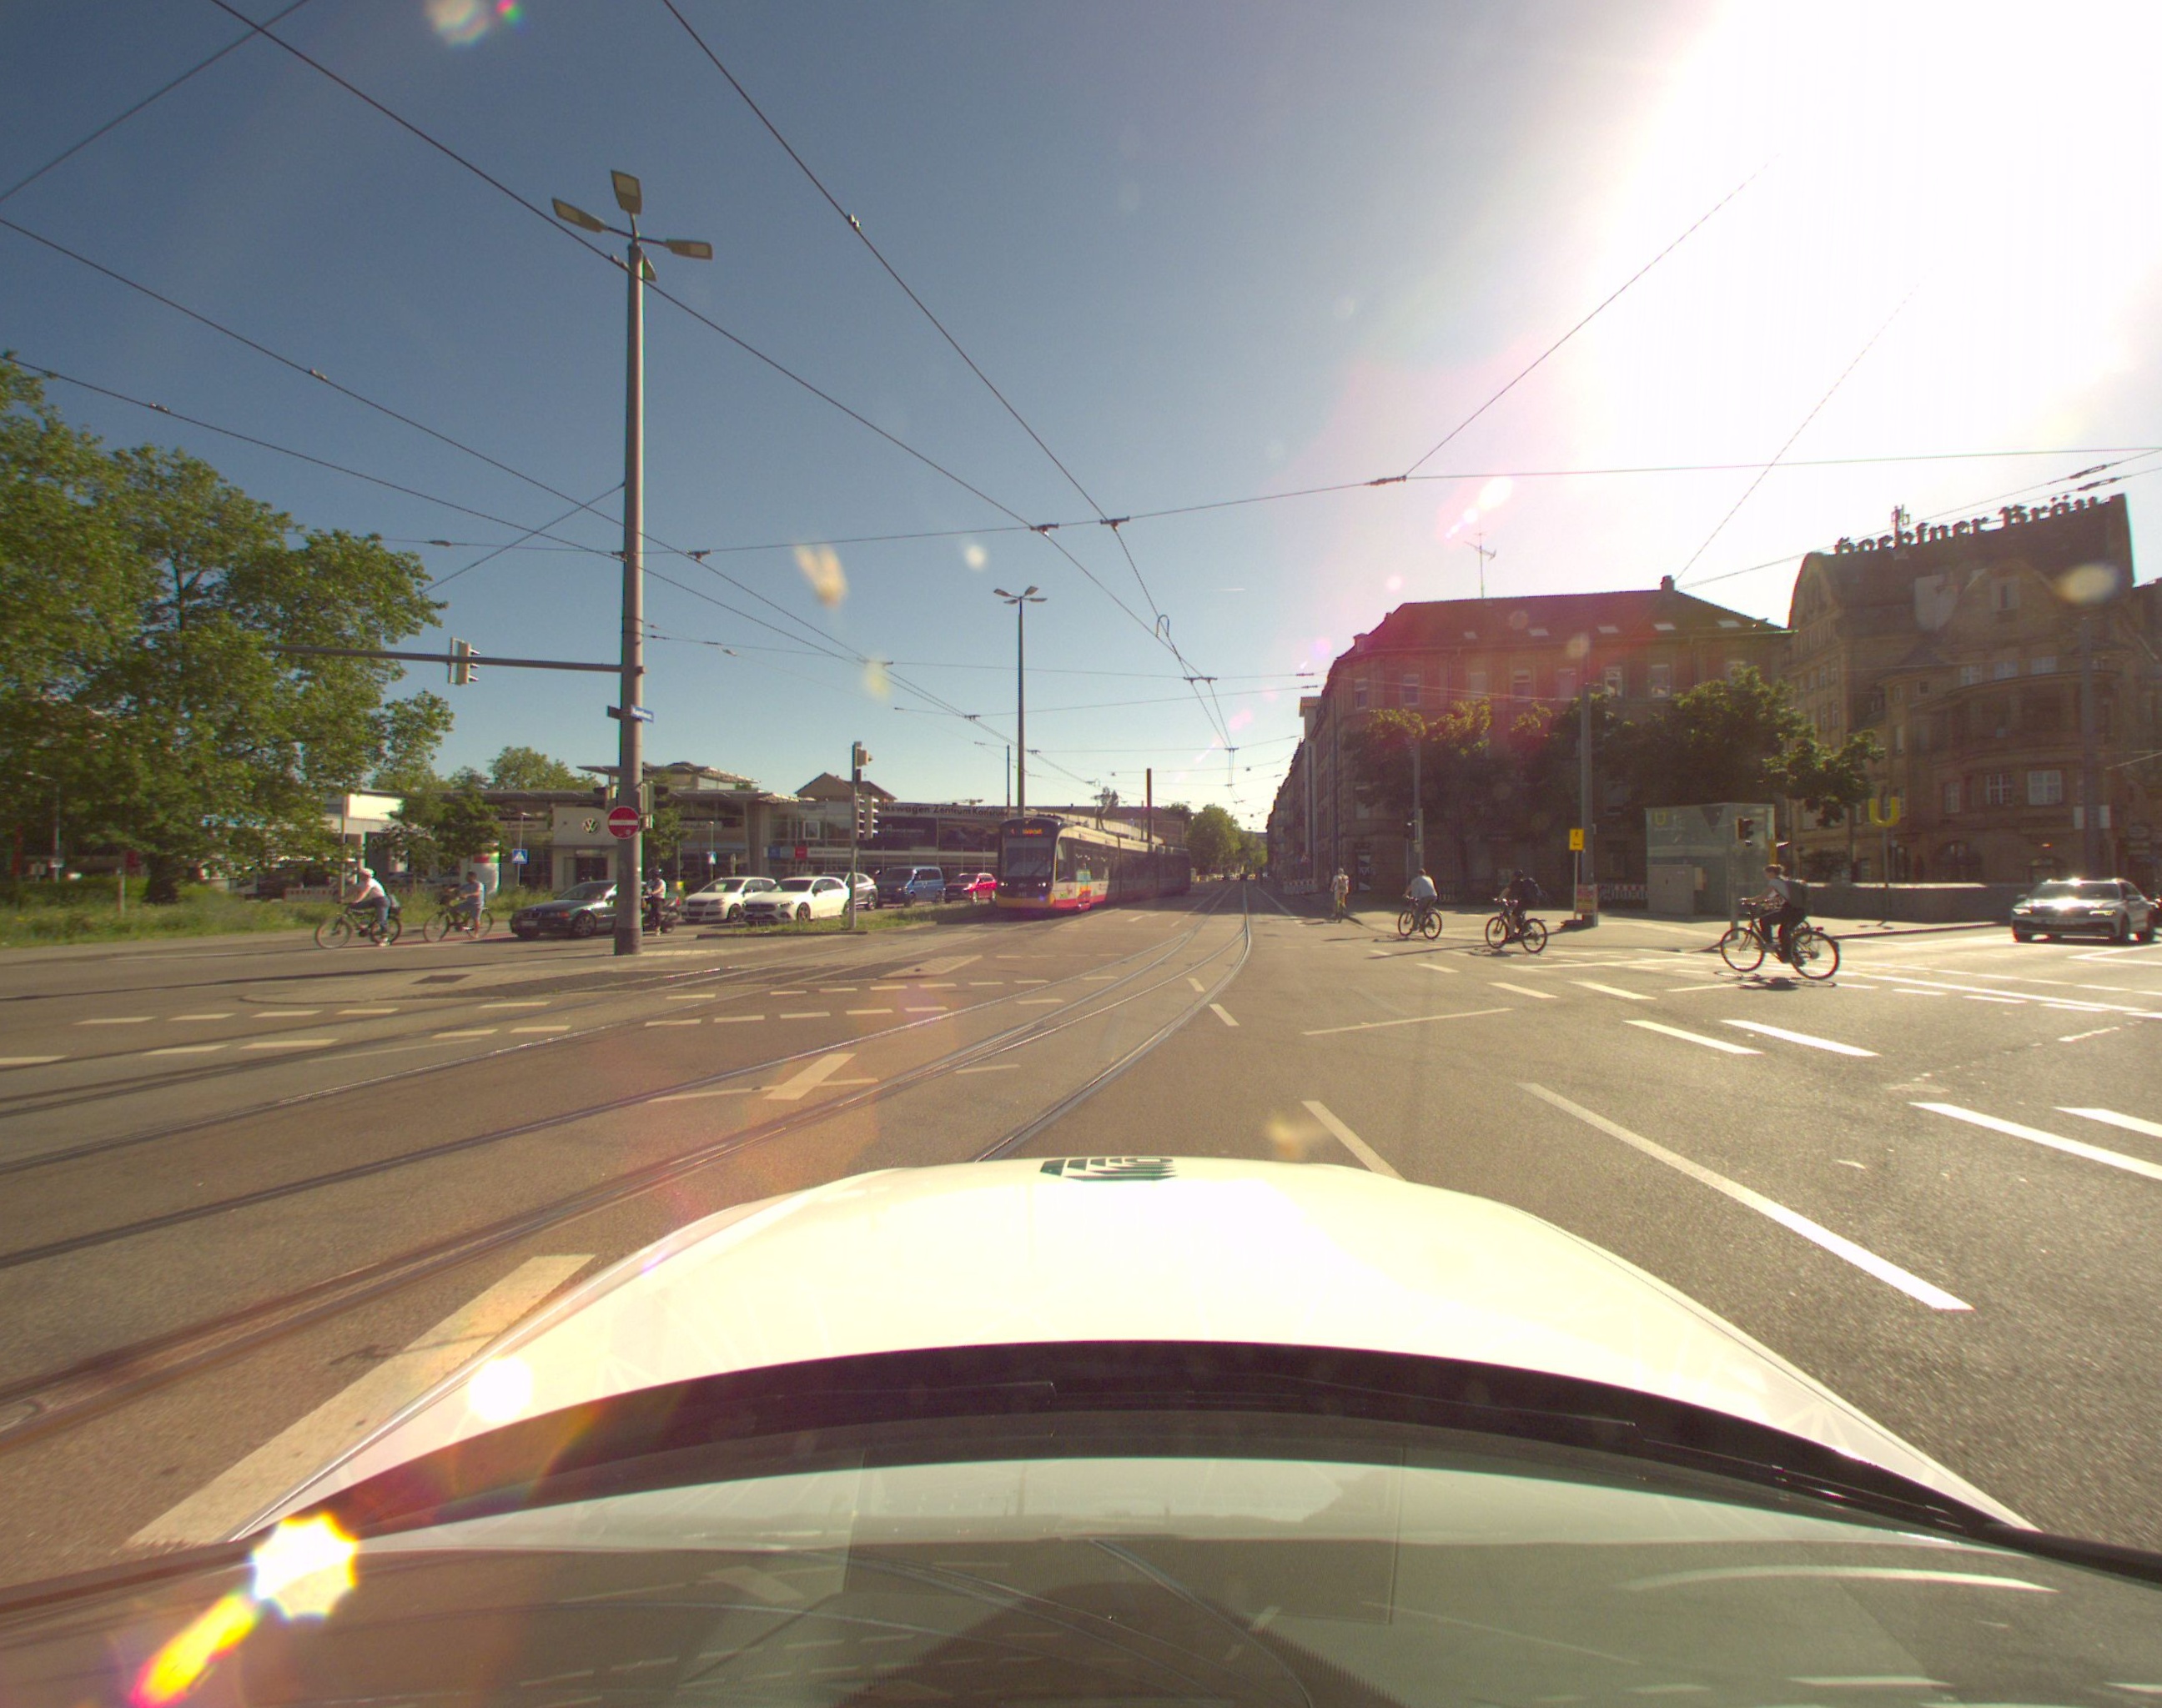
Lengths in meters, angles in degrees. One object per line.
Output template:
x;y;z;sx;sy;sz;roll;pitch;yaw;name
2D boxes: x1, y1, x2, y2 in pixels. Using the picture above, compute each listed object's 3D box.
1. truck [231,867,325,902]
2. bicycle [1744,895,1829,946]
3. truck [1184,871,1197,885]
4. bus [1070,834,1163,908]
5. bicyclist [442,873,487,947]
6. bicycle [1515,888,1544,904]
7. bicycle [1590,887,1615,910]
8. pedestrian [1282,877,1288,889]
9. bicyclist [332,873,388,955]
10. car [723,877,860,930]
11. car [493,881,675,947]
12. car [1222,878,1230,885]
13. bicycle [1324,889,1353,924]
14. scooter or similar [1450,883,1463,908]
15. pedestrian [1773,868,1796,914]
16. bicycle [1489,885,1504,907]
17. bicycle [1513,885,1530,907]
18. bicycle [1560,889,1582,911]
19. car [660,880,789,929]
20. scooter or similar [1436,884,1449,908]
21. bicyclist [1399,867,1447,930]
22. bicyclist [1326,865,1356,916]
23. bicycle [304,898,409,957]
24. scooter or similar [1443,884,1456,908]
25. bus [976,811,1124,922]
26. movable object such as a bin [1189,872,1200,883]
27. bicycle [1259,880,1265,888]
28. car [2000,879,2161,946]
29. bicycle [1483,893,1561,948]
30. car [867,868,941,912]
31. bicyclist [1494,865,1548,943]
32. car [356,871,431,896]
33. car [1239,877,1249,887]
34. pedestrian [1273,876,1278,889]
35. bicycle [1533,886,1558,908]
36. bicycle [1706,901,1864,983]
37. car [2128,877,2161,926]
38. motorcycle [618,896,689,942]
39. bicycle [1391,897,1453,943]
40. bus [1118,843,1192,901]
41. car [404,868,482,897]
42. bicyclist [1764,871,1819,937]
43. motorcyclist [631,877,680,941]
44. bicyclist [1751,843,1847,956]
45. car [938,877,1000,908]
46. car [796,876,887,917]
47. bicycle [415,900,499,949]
-54.661;2.067;55.494;4.192;2.221;1.998;2;-2;-3;truck
18.018;1.678;20.853;0.529;1.117;1.934;2;0;1;bicycle
22.547;4.938;168.270;2.524;2.830;6.389;1;-2;8;truck
2.228;0.991;45.228;2.820;3.590;10.767;0;-2;15;bus
-14.934;1.337;19.723;0.570;1.742;0.603;1;0;12;bicyclist
25.528;2.375;46.365;1.406;0.856;0.406;1;-2;18;bicycle
25.558;2.168;39.921;0.401;1.061;1.464;1;-2;5;bicycle
27.398;3.872;109.196;0.792;1.605;0.654;0;-3;13;pedestrian
-16.043;1.317;18.136;0.570;1.742;0.680;1;-1;12;bicyclist
-8.746;1.479;25.133;1.791;1.432;4.555;1;-2;12;car
-12.443;1.453;20.729;1.638;1.479;3.983;-2;-2;12;car
35.772;6.727;200.951;1.747;1.697;4.157;1;-2;12;car
8.919;1.796;28.264;0.529;1.117;1.936;2;-2;5;bicycle
18.862;2.080;40.951;0.268;1.196;1.570;1;-2;12;scooter or similar
28.411;1.492;32.890;0.652;1.849;0.541;3;-3;-31;pedestrian
20.784;2.085;40.758;0.400;1.061;1.489;1;-2;17;bicycle
21.960;2.105;40.608;0.400;1.061;1.356;1;-2;12;bicycle
24.433;2.265;40.616;0.401;1.061;1.465;1;-2;8;bicycle
-11.488;1.599;26.564;1.791;1.432;4.012;1;-2;12;car
18.230;2.090;41.071;0.268;1.185;1.570;1;-2;12;scooter or similar
8.959;1.152;21.360;0.784;1.593;0.881;1;-2;-16;bicyclist
8.992;1.257;28.235;0.678;1.684;1.120;2;-2;1;bicyclist
-16.056;1.597;18.113;0.534;1.184;1.759;-1;-1;12;bicycle
18.540;2.097;41.021;0.268;1.185;1.570;1;-2;12;scooter or similar
-0.676;0.600;33.226;2.822;3.590;13.537;0;-2;12;bus
27.821;5.734;199.034;2.481;2.645;6.003;1;-2;9;movable object such as a bin
24.650;4.075;111.123;0.676;1.114;2.715;1;-2;11;bicycle
26.534;1.498;21.542;4.260;1.621;1.902;2;-3;-27;car
9.400;1.395;17.455;0.530;1.118;1.931;0;-3;-3;bicycle
-8.365;1.715;38.930;1.790;1.934;4.179;-1;-3;14;car
9.400;1.052;17.430;0.621;1.614;0.980;2;-2;-1;bicyclist
-53.005;2.288;62.821;3.973;1.757;2.000;2;-2;0;car
37.415;6.438;186.925;1.980;2.014;4.012;1;-2;12;car
25.663;3.781;107.391;0.548;1.701;0.476;-3;-3;17;pedestrian
23.029;2.110;40.357;0.402;1.061;1.350;2;-2;-4;bicycle
10.651;1.296;12.426;0.531;1.118;1.928;0;-3;-8;bicycle
39.606;1.683;29.074;4.260;1.687;1.902;2;-3;-27;car
-10.598;1.588;20.256;0.515;1.047;1.753;-1;-2;13;motorcycle
8.919;1.701;21.392;0.387;1.069;1.923;0;-1;-16;bicycle
5.311;1.248;55.827;2.819;3.590;11.318;0;-2;17;bus
-47.314;2.141;60.475;3.985;2.014;1.994;2;-2;-9;car
17.945;1.259;20.588;0.596;1.614;0.953;2;-2;2;bicyclist
-10.645;1.365;20.379;0.581;1.580;0.946;-1;-3;13;motorcyclist
10.693;0.666;12.166;0.549;1.614;0.950;2;-2;-8;bicyclist
-6.296;2.182;46.428;1.785;1.719;4.435;-1;-3;17;car
-9.779;1.717;33.553;1.791;1.578;4.178;-1;-2;12;car
-14.992;1.674;19.621;0.534;1.074;1.660;-1;-1;12;bicycle
